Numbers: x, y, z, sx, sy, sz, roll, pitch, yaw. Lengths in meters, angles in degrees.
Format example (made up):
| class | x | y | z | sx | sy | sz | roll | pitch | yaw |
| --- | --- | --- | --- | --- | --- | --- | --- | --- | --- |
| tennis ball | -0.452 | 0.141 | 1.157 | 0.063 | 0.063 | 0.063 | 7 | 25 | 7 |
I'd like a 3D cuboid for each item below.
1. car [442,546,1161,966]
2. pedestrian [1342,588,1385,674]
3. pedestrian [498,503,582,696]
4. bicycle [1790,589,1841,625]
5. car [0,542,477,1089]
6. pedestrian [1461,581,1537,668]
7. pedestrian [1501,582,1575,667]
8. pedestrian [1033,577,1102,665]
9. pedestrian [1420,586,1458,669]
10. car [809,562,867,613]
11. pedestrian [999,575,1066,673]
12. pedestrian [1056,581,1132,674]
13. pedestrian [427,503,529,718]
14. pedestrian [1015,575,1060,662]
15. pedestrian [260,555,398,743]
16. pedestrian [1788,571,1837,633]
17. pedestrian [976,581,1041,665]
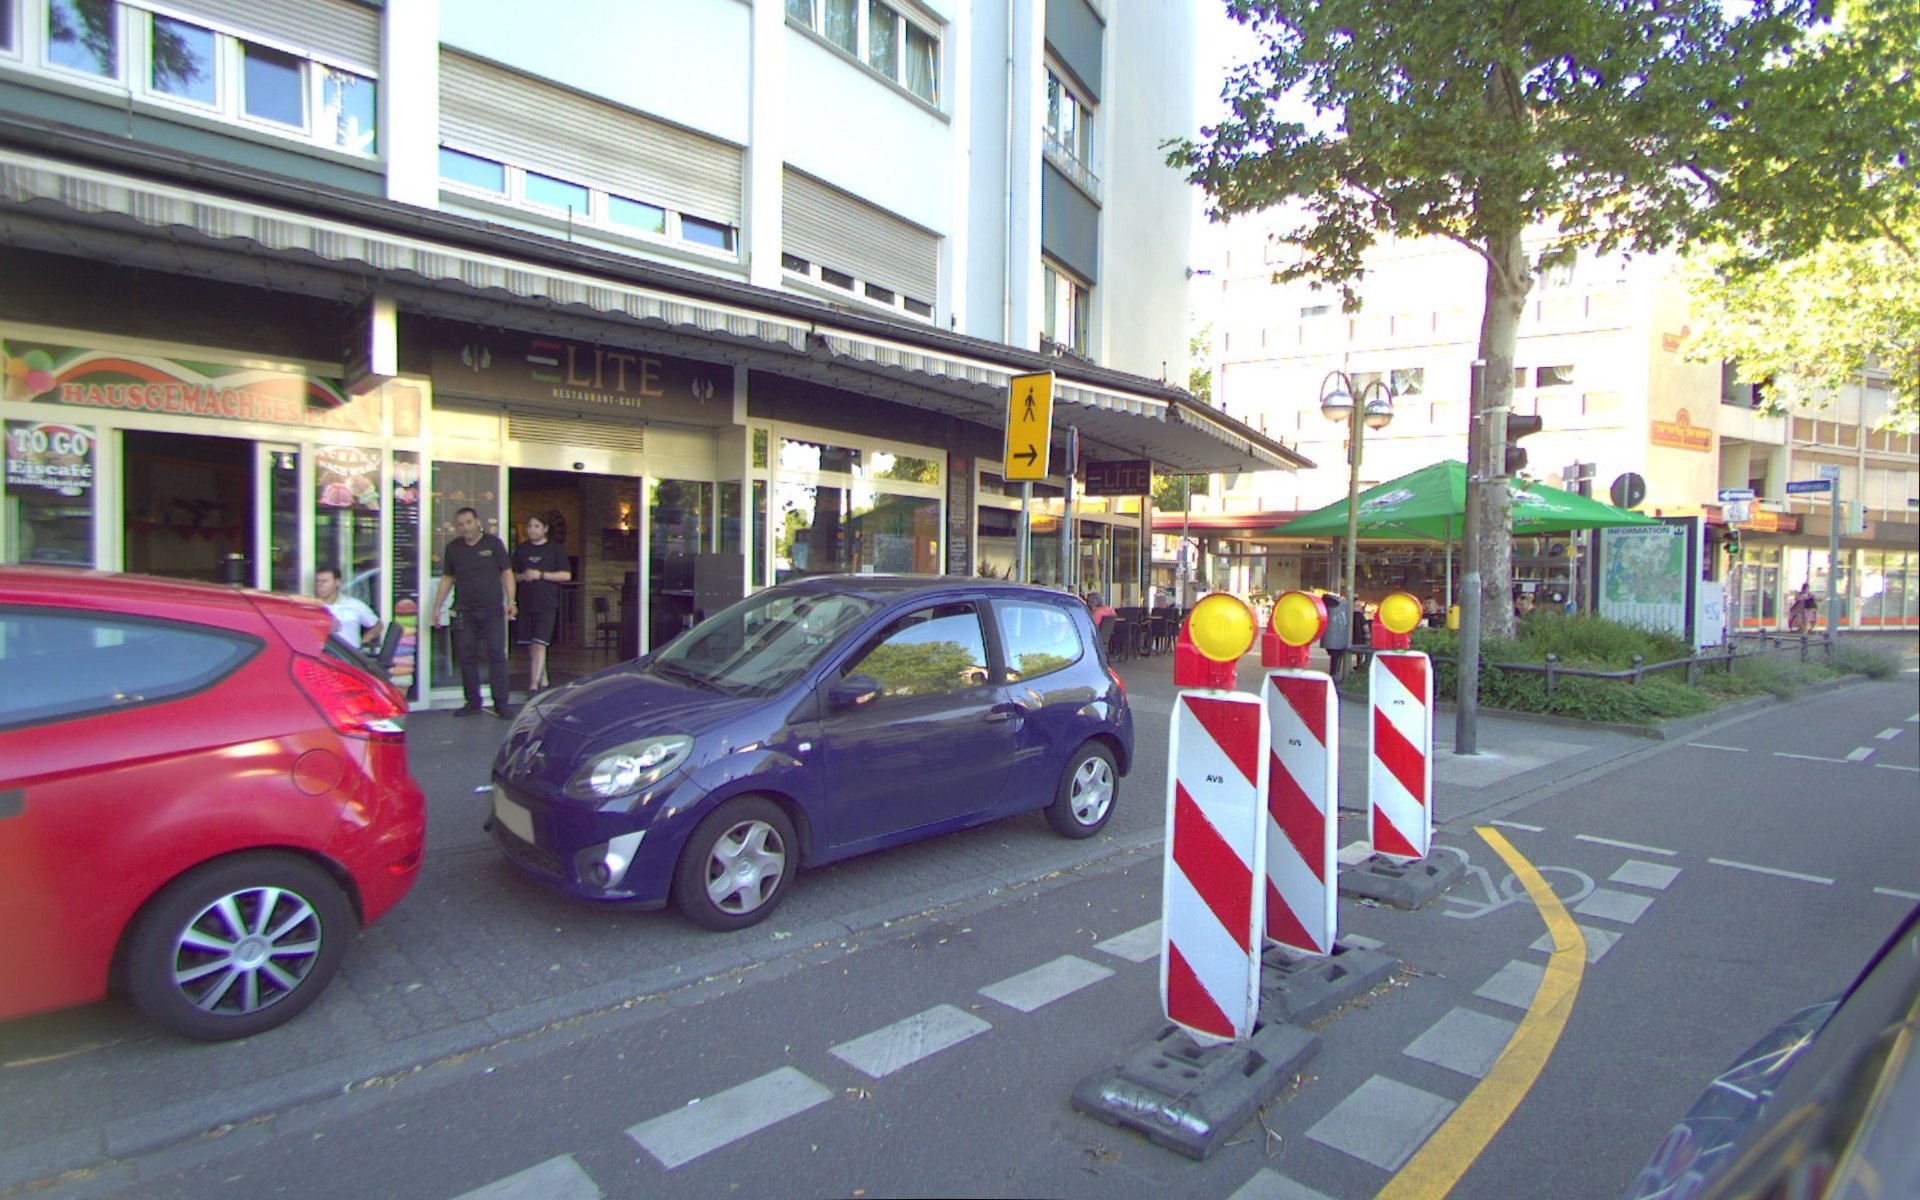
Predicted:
| class | x | y | z | sx | sy | sz | roll | pitch | yaw |
| --- | --- | --- | --- | --- | --- | --- | --- | --- | --- |
| car | -0.643 | 0.530 | 5.497 | 3.545 | 1.484 | 1.621 | 0 | 4 | -44 |
| pedestrian | 5.942 | 0.449 | 14.914 | 0.460 | 1.235 | 0.432 | 1 | 0 | 5 |
| pedestrian | -4.034 | -0.013 | 9.712 | 0.634 | 1.780 | 0.613 | 2 | 2 | -28 |
| bicycle | 28.123 | 0.213 | 33.255 | 1.933 | 1.157 | 0.530 | 0 | 1 | -26 |
| car | -3.644 | 0.562 | 2.851 | 1.667 | 1.446 | 3.786 | 5 | 4 | 44 |
| pedestrian | 8.417 | 0.369 | 15.821 | 0.752 | 1.301 | 0.721 | 0 | 1 | -27 |
| pedestrian | 9.267 | 0.379 | 16.223 | 0.753 | 1.301 | 0.720 | 0 | 1 | -28 |
| pedestrian | 1.586 | 0.294 | 14.916 | 0.664 | 1.233 | 0.706 | 3 | 1 | 43 |
| pedestrian | 7.454 | 0.416 | 15.770 | 0.427 | 1.234 | 0.465 | 3 | 2 | 20 |
| car | -4.442 | -0.484 | 37.450 | 1.960 | 1.771 | 4.004 | 1 | 1 | -5 |
| pedestrian | 0.991 | 0.311 | 13.751 | 0.644 | 1.267 | 0.711 | 3 | 1 | 25 |
| pedestrian | 1.855 | 0.364 | 14.026 | 0.838 | 1.213 | 0.644 | 3 | 1 | 27 |
| pedestrian | -4.126 | 0.068 | 8.657 | 0.587 | 1.756 | 0.588 | 1 | 3 | -44 |
| pedestrian | 1.165 | 0.271 | 15.277 | 0.541 | 1.259 | 0.521 | 2 | 1 | -7 |
| pedestrian | -4.824 | 0.318 | 7.710 | 0.765 | 1.247 | 1.207 | -1 | 5 | -38 |
| pedestrian | 24.807 | 0.059 | 29.462 | 0.883 | 1.779 | 0.751 | 0 | 1 | -24 |
| pedestrian | 0.702 | 0.317 | 14.655 | 0.710 | 1.144 | 0.645 | 3 | 1 | 25 |
